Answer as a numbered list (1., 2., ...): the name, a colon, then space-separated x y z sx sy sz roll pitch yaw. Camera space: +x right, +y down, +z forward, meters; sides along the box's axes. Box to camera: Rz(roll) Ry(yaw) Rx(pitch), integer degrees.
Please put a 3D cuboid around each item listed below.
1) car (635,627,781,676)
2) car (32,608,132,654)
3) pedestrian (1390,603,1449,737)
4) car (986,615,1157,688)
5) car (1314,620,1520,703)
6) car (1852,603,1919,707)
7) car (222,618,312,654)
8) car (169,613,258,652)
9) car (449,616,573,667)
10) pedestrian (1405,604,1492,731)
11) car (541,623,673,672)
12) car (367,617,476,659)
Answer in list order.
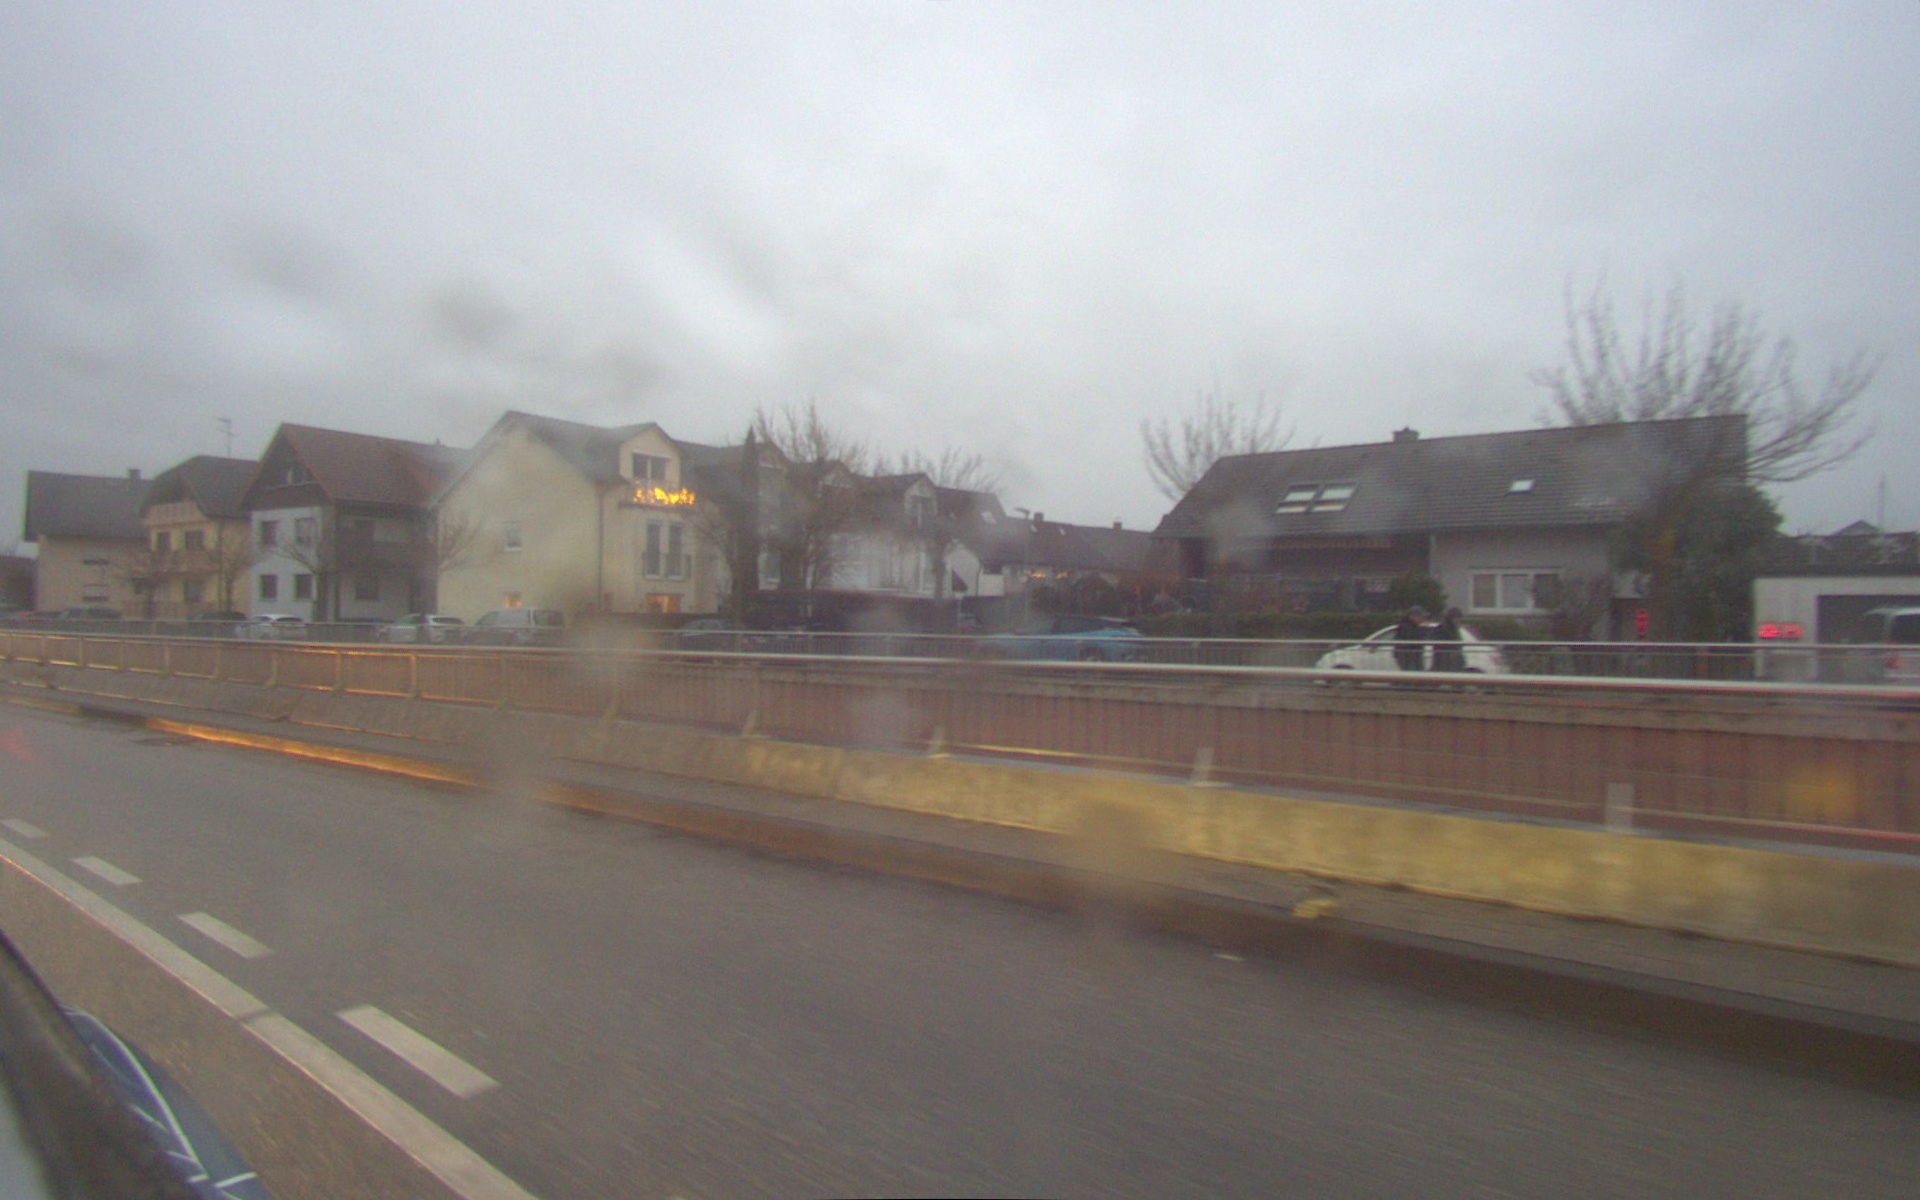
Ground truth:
1. car: -7.930 1.606 31.721 4.486 1.444 1.859 -1 -3 32
2. car: -36.940 1.277 42.571 3.839 1.817 1.790 0 -1 25
3. pedestrian: 6.088 0.906 13.402 0.541 1.710 0.657 -1 -1 38
4. car: 2.654 1.206 24.411 3.809 1.592 1.553 0 -3 32
5. car: 8.885 1.140 19.779 3.453 1.438 1.469 0 -1 37
6. car: 17.418 0.973 17.952 1.859 1.707 3.953 -1 -3 34
7. car: -31.415 1.602 45.884 4.014 1.535 1.757 0 -1 29
8. car: -35.145 1.501 47.644 3.982 1.694 1.846 0 1 29
9. car: -16.500 1.524 37.140 4.483 1.792 1.861 -1 -3 30
10. pedestrian: 7.275 0.974 15.064 0.972 1.798 0.919 -1 -1 38
11. car: -12.058 1.608 34.499 4.486 1.584 1.859 -1 -3 32
12. car: -21.377 1.516 40.154 4.208 1.611 1.861 -1 -3 30
